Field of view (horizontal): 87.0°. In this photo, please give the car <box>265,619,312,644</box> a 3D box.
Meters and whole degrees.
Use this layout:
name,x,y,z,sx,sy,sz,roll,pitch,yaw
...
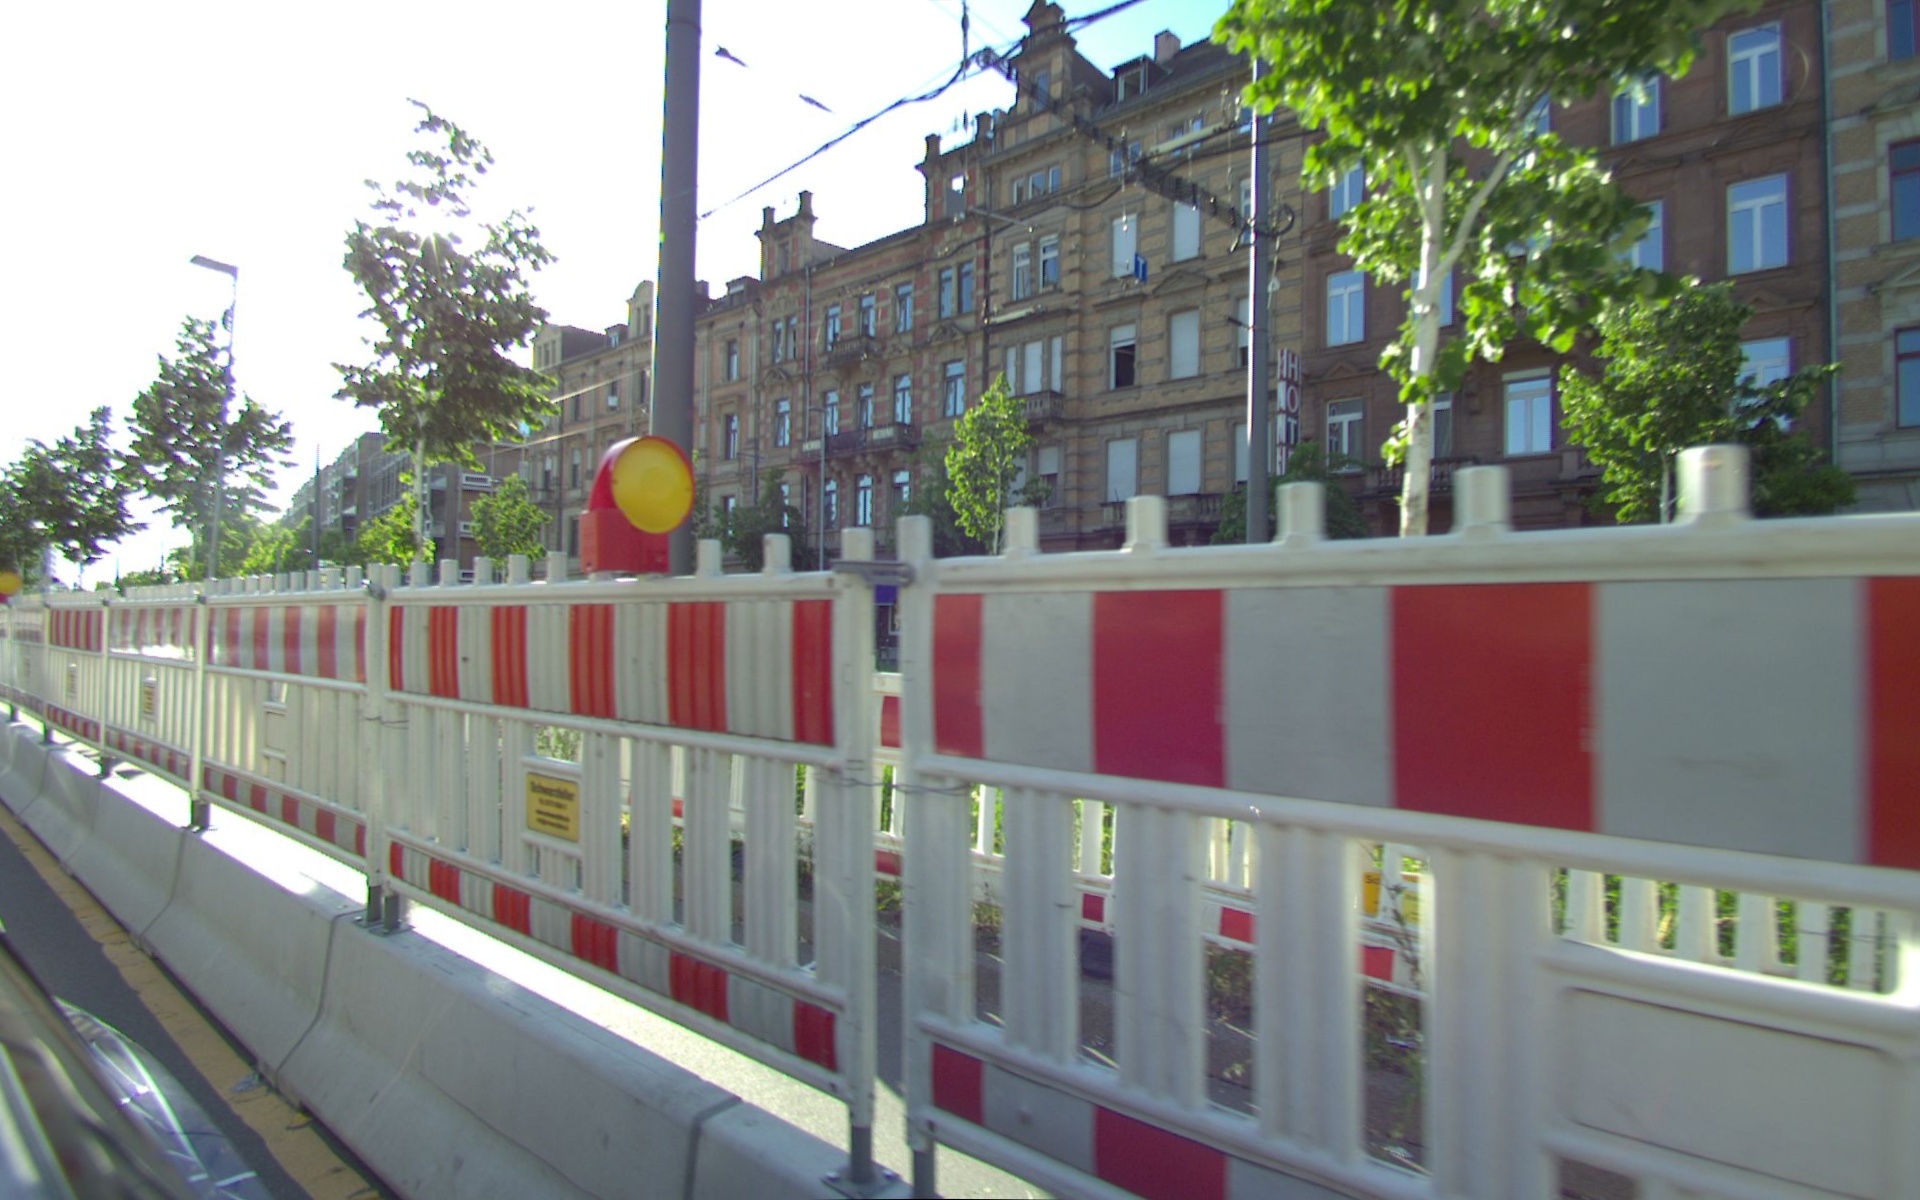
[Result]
name,x,y,z,sx,sy,sz,roll,pitch,yaw
car,-41.252,1.929,62.137,3.623,1.494,1.577,-1,-3,43

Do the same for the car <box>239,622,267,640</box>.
name,x,y,z,sx,sy,sz,roll,pitch,yaw
car,-65.405,2.873,93.582,1.716,1.548,3.890,1,-2,-41

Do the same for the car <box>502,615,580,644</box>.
name,x,y,z,sx,sy,sz,roll,pitch,yaw
car,-28.351,2.031,68.594,1.895,1.918,4.467,-1,-3,37

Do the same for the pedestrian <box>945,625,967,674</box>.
name,x,y,z,sx,sy,sz,roll,pitch,yaw
pedestrian,-0.124,1.652,33.715,0.533,1.597,0.481,-1,-1,41

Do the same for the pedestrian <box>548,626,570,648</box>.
name,x,y,z,sx,sy,sz,roll,pitch,yaw
pedestrian,-22.545,2.077,56.876,0.929,1.217,0.782,-1,-2,42

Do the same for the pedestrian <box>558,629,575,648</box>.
name,x,y,z,sx,sy,sz,roll,pitch,yaw
pedestrian,-22.635,2.194,58.212,0.736,1.067,0.682,-1,-2,42

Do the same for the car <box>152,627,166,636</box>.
name,x,y,z,sx,sy,sz,roll,pitch,yaw
car,-139.233,5.495,175.897,1.608,1.507,3.784,3,-3,-42

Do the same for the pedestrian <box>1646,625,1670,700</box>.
name,x,y,z,sx,sy,sz,roll,pitch,yaw
pedestrian,15.230,1.355,22.075,0.385,1.597,0.429,-1,-1,38

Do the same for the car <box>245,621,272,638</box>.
name,x,y,z,sx,sy,sz,roll,pitch,yaw
car,-62.193,2.640,89.726,1.604,1.452,3.824,1,-2,-41

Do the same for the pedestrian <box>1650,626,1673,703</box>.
name,x,y,z,sx,sy,sz,roll,pitch,yaw
pedestrian,14.904,1.353,21.487,0.339,1.597,0.424,-1,-1,41

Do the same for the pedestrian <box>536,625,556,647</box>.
name,x,y,z,sx,sy,sz,roll,pitch,yaw
pedestrian,-23.864,2.070,58.328,0.929,1.256,0.682,-1,-2,43

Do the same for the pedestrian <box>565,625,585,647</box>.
name,x,y,z,sx,sy,sz,roll,pitch,yaw
pedestrian,-21.465,1.992,56.483,0.929,1.217,0.682,-1,-2,43

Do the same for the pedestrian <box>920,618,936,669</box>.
name,x,y,z,sx,sy,sz,roll,pitch,yaw
pedestrian,-1.142,1.527,35.742,0.406,1.778,0.363,-1,-1,41

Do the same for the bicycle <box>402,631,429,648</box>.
name,x,y,z,sx,sy,sz,roll,pitch,yaw
bicycle,-29.694,2.150,55.181,2.031,0.864,0.630,-1,-3,43

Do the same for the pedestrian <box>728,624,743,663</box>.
name,x,y,z,sx,sy,sz,roll,pitch,yaw
pedestrian,-9.329,1.813,42.014,0.425,1.597,0.399,-1,-1,41

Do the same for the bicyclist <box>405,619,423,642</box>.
name,x,y,z,sx,sy,sz,roll,pitch,yaw
bicyclist,-29.859,1.655,55.343,0.738,1.249,0.630,-1,-3,42

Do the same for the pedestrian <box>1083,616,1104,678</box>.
name,x,y,z,sx,sy,sz,roll,pitch,yaw
pedestrian,3.885,1.358,29.483,0.405,1.778,0.504,-1,0,31
